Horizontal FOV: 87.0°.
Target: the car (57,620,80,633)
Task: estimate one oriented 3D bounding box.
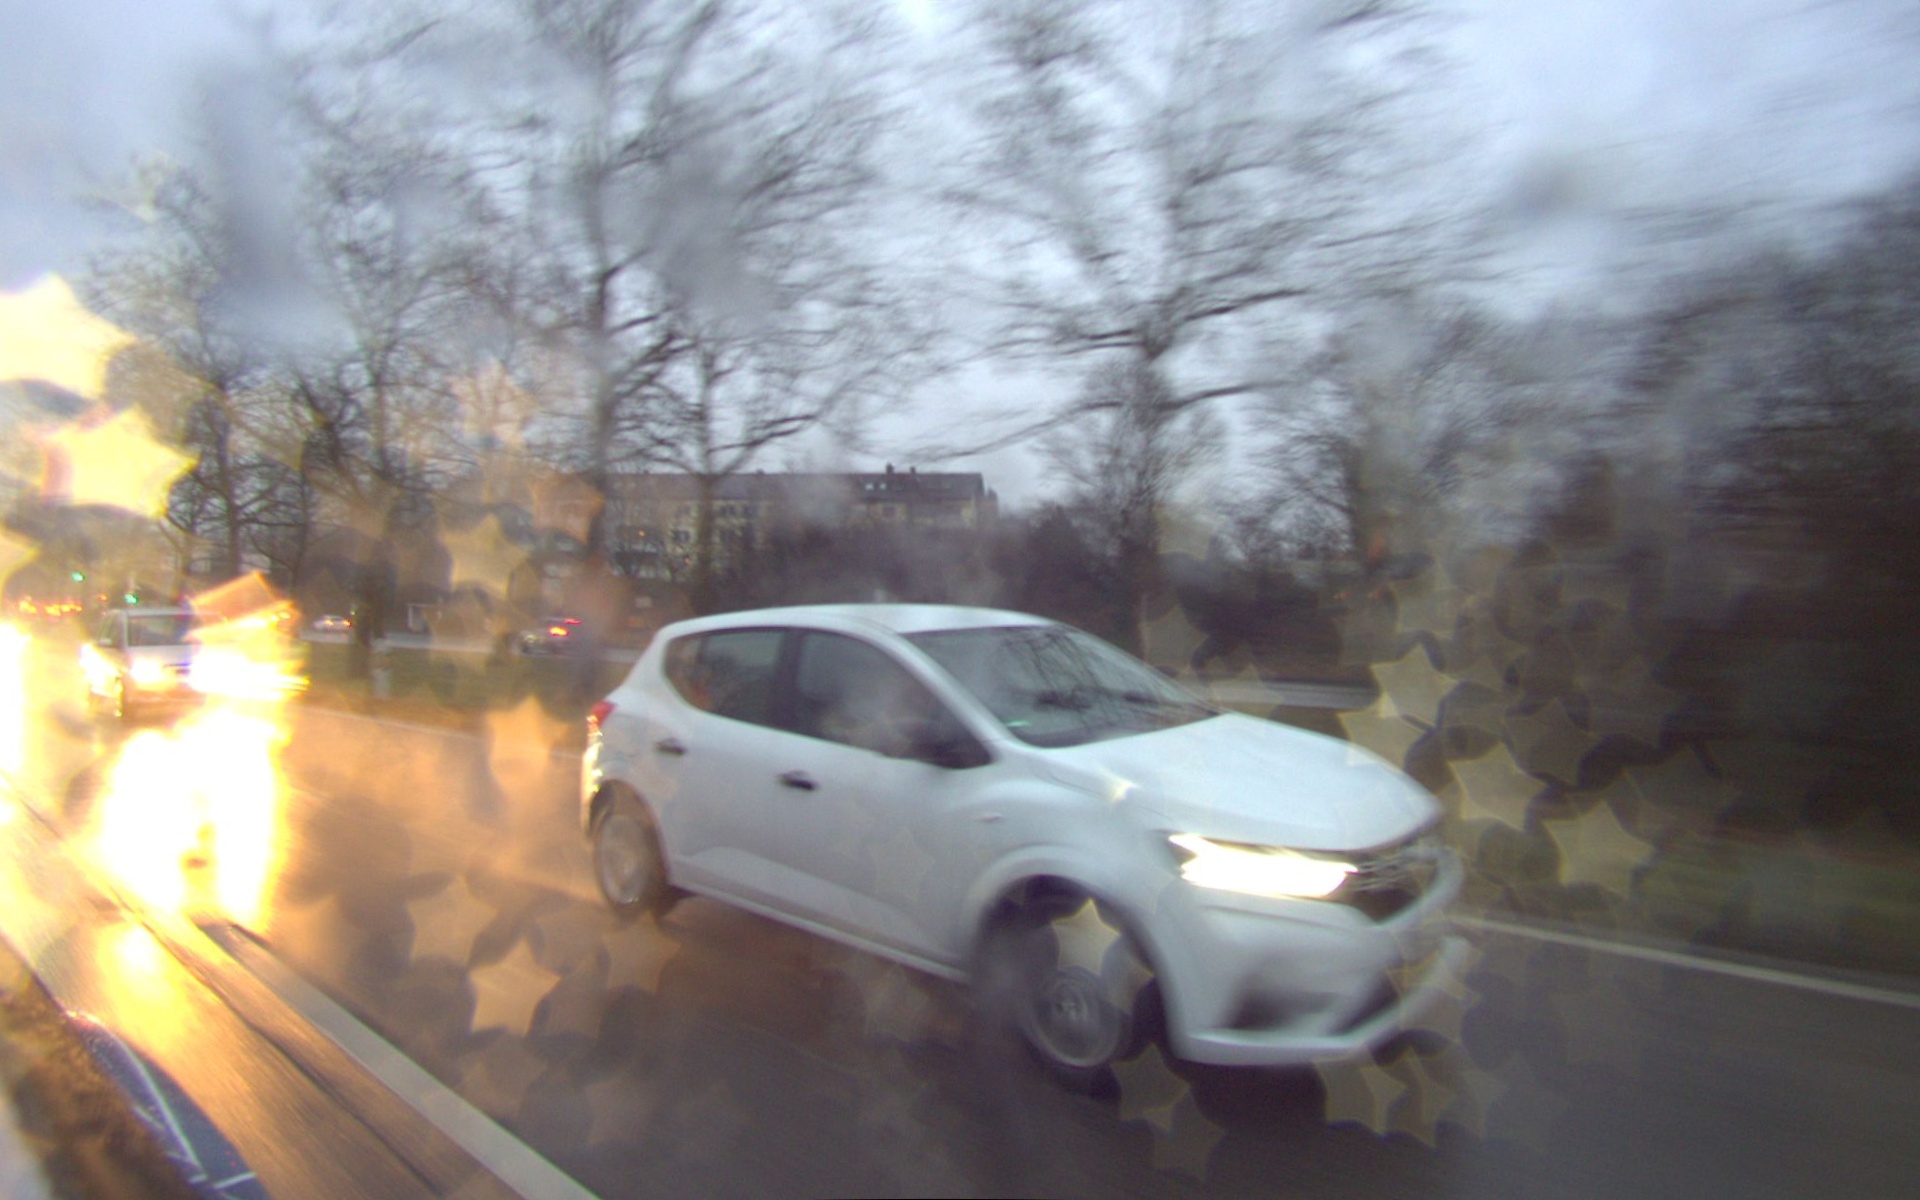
[{"bbox_3d":[-105.594,3.114,119.861,4.000,1.514,1.553,0,-1,43],"label":"car"}]

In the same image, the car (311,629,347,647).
[{"bbox_3d":[-53.191,3.193,85.236,1.728,1.405,4.303,2,-2,-43],"label":"car"}]

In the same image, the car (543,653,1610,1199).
[{"bbox_3d":[0.070,0.983,4.226,4.225,1.451,1.705,-2,-3,43],"label":"car"}]

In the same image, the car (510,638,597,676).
[{"bbox_3d":[-16.701,2.298,41.499,3.977,1.436,1.729,0,-2,43],"label":"car"}]

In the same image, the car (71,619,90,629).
[{"bbox_3d":[-117.348,3.164,135.048,4.000,1.302,1.520,0,-2,43],"label":"car"}]

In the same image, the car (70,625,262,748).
[{"bbox_3d":[-12.489,1.238,15.823,4.166,1.611,1.742,0,-2,44],"label":"car"}]

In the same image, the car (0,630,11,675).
[{"bbox_3d":[-35.819,1.858,36.444,4.144,1.542,2.000,0,-2,42],"label":"car"}]

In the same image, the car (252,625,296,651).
[{"bbox_3d":[-46.967,2.596,69.235,3.980,1.694,1.599,-1,-2,43],"label":"car"}]

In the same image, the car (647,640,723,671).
[{"bbox_3d":[-12.980,2.591,47.676,4.105,1.312,1.560,0,-2,44],"label":"car"}]
